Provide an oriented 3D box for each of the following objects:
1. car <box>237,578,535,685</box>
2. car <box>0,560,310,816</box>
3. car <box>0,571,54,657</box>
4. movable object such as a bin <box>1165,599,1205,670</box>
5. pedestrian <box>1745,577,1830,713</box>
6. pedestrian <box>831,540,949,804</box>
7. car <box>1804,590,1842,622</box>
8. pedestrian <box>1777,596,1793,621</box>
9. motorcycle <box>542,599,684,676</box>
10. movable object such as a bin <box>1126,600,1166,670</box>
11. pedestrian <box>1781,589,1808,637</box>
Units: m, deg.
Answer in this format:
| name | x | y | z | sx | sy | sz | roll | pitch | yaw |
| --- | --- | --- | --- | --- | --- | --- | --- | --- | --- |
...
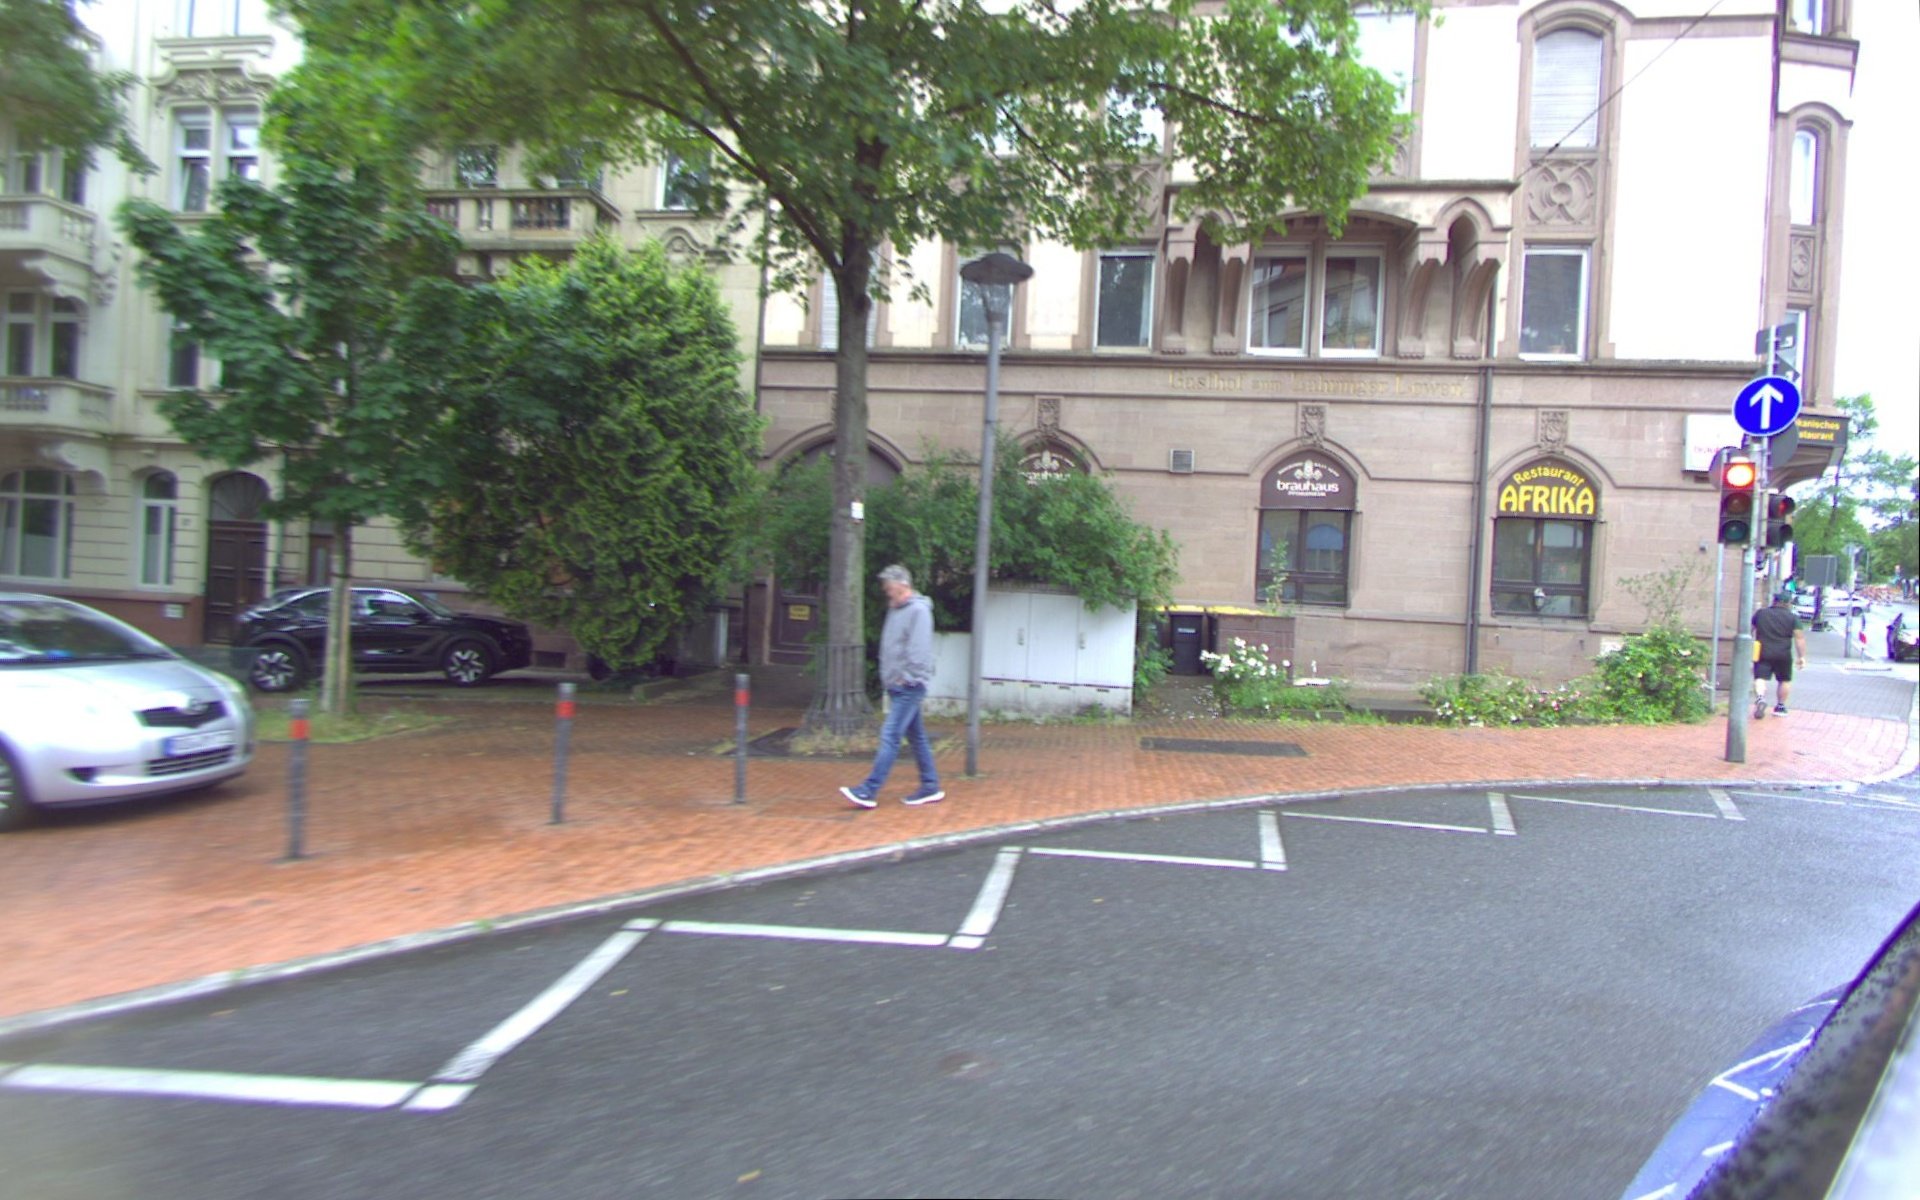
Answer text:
| name | x | y | z | sx | sy | sz | roll | pitch | yaw |
| --- | --- | --- | --- | --- | --- | --- | --- | --- | --- |
| car | -8.692 | 0.426 | 15.705 | 3.769 | 1.495 | 1.775 | 0 | 0 | -20 |
| car | -6.896 | 0.564 | 7.157 | 3.612 | 1.522 | 1.767 | -1 | -1 | 8 |
| car | -18.681 | 0.342 | 17.668 | 1.845 | 1.546 | 3.993 | 0 | 4 | 9 |
| movable object such as a bin | 3.497 | 0.523 | 15.759 | 0.549 | 1.078 | 0.541 | 0 | 0 | 6 |
| pedestrian | 10.821 | 0.556 | 13.233 | 0.828 | 1.700 | 0.880 | 0 | 0 | 42 |
| pedestrian | -0.500 | 0.475 | 7.093 | 0.716 | 1.755 | 0.575 | 0 | 0 | -16 |
| car | 53.223 | 0.318 | 62.472 | 1.521 | 1.636 | 3.445 | 7 | 7 | 39 |
| pedestrian | 53.300 | 0.550 | 65.381 | 0.642 | 1.513 | 0.682 | 6 | 8 | 39 |
| motorcycle | -5.626 | 0.589 | 16.497 | 2.153 | 1.203 | 0.555 | 0 | 0 | -19 |
| movable object such as a bin | 2.913 | 0.535 | 15.876 | 0.565 | 1.070 | 0.536 | 0 | 0 | 6 |
| pedestrian | 34.693 | 0.527 | 42.081 | 1.072 | 1.973 | 0.699 | 0 | 1 | -42 |
